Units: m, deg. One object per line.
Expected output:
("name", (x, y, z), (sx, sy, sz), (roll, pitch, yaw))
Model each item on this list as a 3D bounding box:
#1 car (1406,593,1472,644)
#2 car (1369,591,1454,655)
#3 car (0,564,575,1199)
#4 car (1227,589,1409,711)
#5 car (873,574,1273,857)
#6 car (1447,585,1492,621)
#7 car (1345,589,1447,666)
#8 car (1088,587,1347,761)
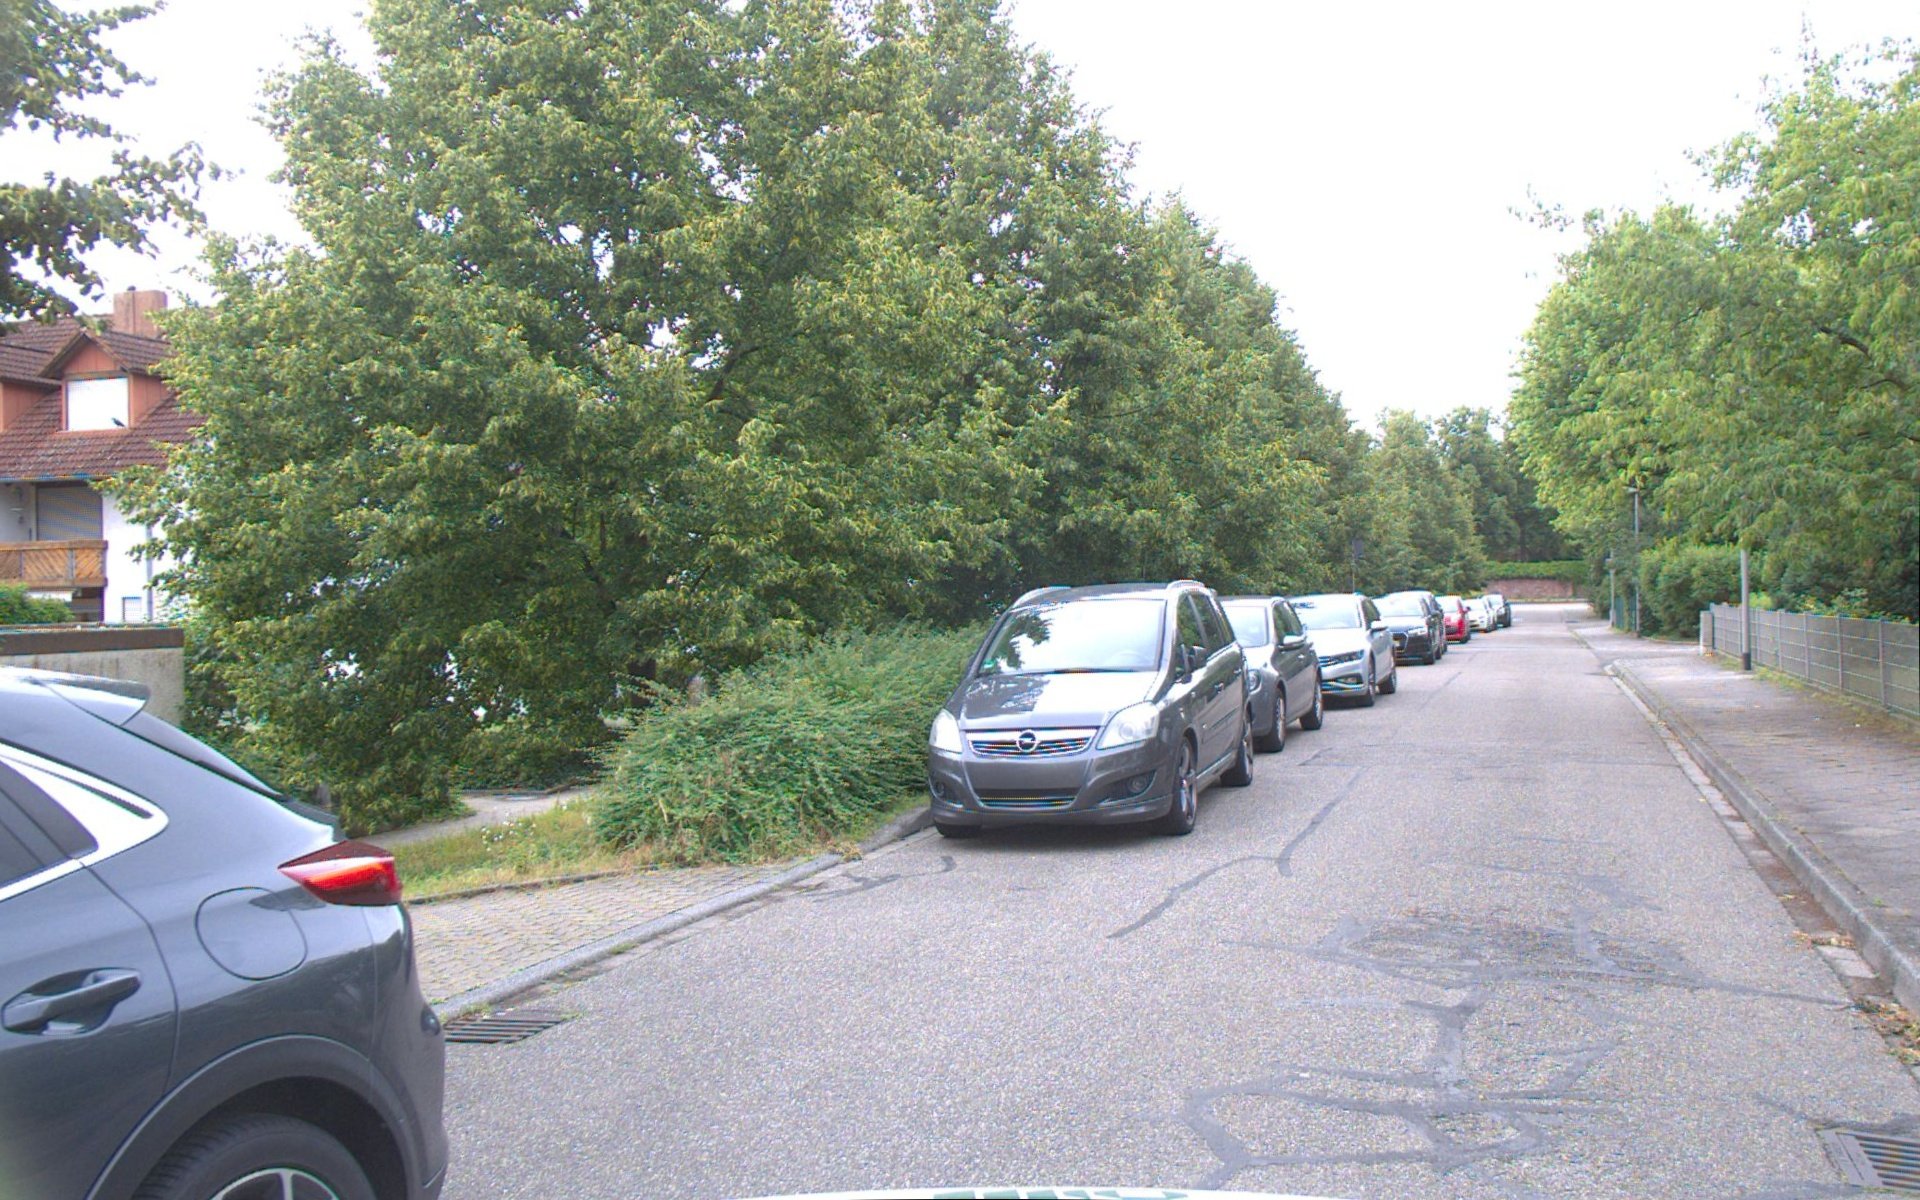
("car", (15.407, 0.576, 53.124), (1.715, 1.450, 4.001), (-3, 0, 20))
("car", (11.552, 0.556, 42.149), (1.715, 1.450, 4.001), (-3, 0, 20))
("car", (-2.331, 0.783, 1.687), (1.706, 1.558, 4.196), (-3, -1, 21))
("car", (5.059, 0.627, 22.934), (1.740, 1.453, 4.479), (-3, 0, 21))
("car", (1.046, 0.684, 11.967), (1.720, 1.621, 4.555), (-3, -1, 18))
("car", (22.946, 0.135, 74.379), (1.715, 1.546, 4.001), (-1, 0, 20))
("car", (9.412, 0.556, 35.514), (1.715, 1.450, 4.001), (-3, 0, 20))
("car", (2.810, 0.678, 17.217), (1.721, 1.504, 4.306), (-3, -1, 21))
